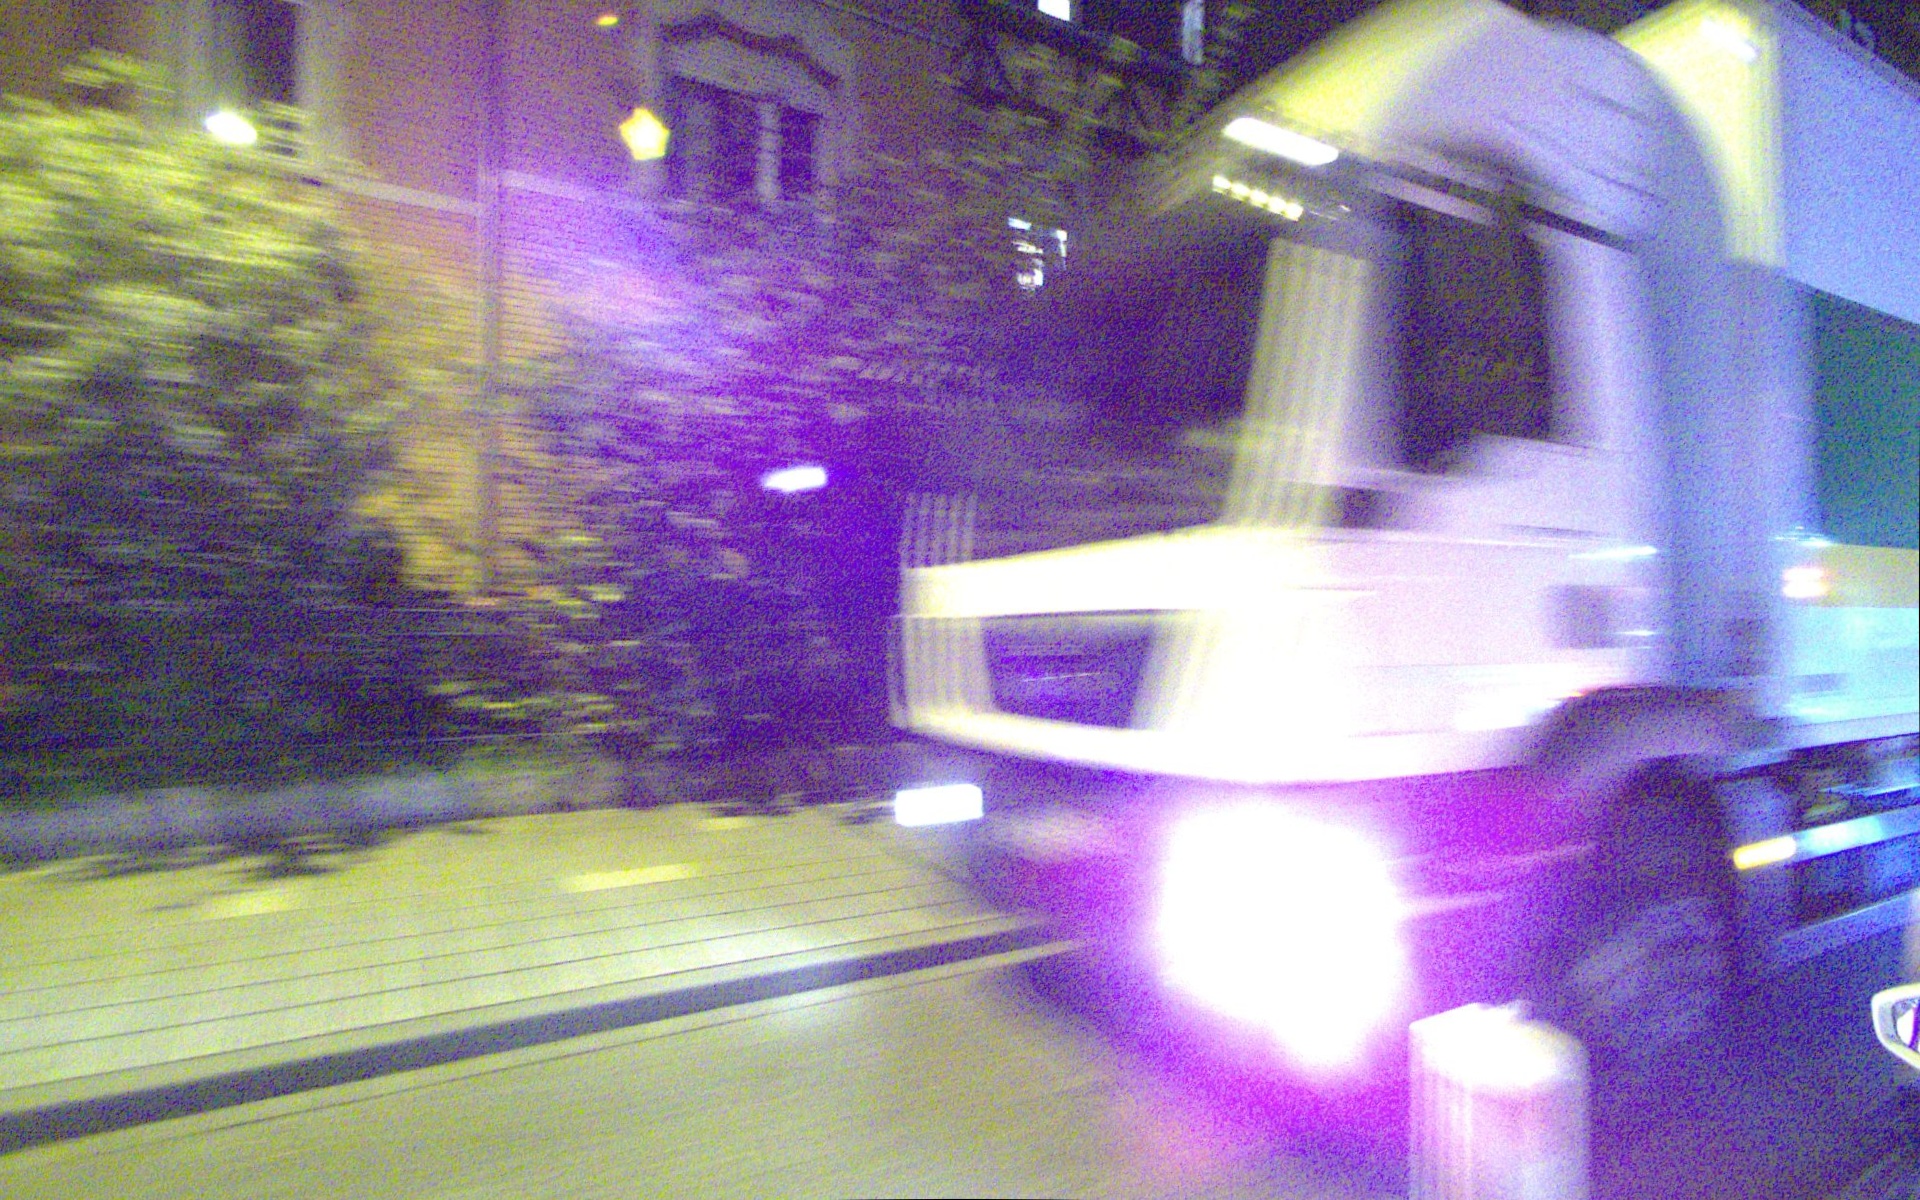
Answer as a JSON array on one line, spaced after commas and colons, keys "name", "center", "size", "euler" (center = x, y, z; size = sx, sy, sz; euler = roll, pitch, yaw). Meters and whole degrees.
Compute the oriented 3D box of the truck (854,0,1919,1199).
[{"name": "truck", "center": [4.540, -0.330, 5.673], "size": [9.989, 3.767, 2.744], "euler": [1, -2, -29]}]
